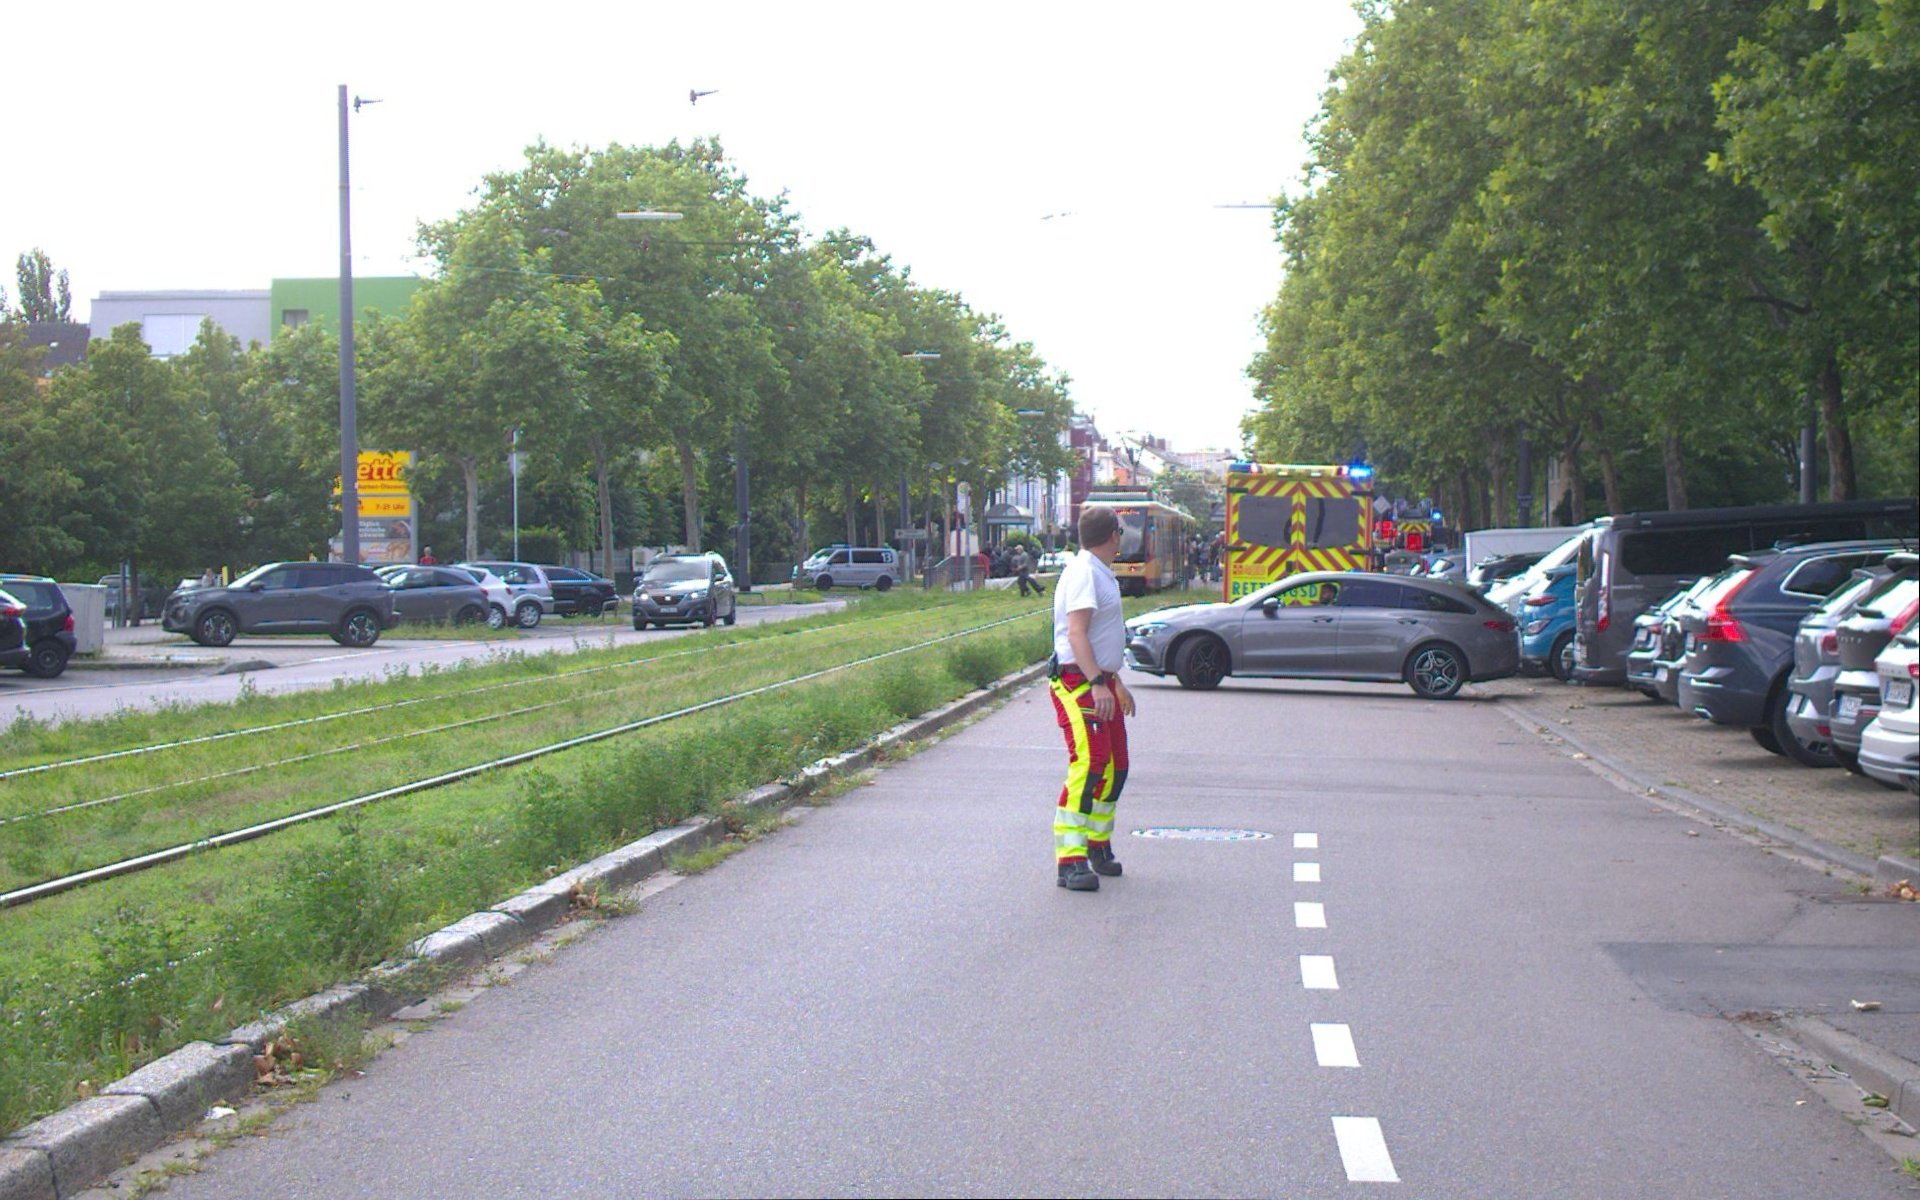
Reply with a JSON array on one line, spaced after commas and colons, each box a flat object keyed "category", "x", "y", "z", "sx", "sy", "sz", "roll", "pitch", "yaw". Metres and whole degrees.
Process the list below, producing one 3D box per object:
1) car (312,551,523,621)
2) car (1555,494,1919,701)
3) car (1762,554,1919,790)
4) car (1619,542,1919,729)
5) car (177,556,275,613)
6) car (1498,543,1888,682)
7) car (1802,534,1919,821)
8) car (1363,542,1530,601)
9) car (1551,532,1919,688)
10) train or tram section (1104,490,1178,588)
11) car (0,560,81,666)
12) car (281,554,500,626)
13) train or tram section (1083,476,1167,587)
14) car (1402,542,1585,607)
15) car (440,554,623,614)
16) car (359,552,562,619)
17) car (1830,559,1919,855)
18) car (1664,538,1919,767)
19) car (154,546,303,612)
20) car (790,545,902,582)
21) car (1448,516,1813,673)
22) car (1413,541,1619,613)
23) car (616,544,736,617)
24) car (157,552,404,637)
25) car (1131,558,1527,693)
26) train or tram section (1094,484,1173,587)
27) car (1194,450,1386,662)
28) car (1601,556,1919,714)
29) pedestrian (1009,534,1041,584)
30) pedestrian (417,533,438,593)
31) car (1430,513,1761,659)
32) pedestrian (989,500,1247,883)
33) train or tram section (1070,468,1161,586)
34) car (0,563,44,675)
[{"category": "car", "x": -12.062, "y": -0.309, "z": 76.440, "sx": 4.221, "sy": 1.477, "sz": 1.883, "roll": 1, "pitch": 1, "yaw": -30}, {"category": "car", "x": 8.804, "y": -0.037, "z": 37.052, "sx": 4.546, "sy": 2.116, "sz": 1.855, "roll": -1, "pitch": 1, "yaw": 5}, {"category": "car", "x": 7.663, "y": 0.431, "z": 22.820, "sx": 4.382, "sy": 1.496, "sz": 1.756, "roll": -1, "pitch": 1, "yaw": 8}, {"category": "car", "x": 8.165, "y": 0.284, "z": 31.126, "sx": 3.965, "sy": 1.600, "sz": 1.756, "roll": -1, "pitch": 1, "yaw": -5}, {"category": "car", "x": -24.097, "y": -0.523, "z": 112.931, "sx": 1.994, "sy": 1.744, "sz": 3.999, "roll": 2, "pitch": 1, "yaw": 5}, {"category": "car", "x": 9.232, "y": 0.143, "z": 43.555, "sx": 4.546, "sy": 1.655, "sz": 1.856, "roll": -1, "pitch": 1, "yaw": 1}, {"category": "car", "x": 7.535, "y": 0.387, "z": 20.348, "sx": 4.658, "sy": 1.620, "sz": 1.848, "roll": -1, "pitch": 1, "yaw": 2}, {"category": "car", "x": 13.942, "y": -0.835, "z": 98.752, "sx": 4.546, "sy": 1.603, "sz": 1.856, "roll": -1, "pitch": 1, "yaw": 2}, {"category": "car", "x": 9.440, "y": 0.104, "z": 40.986, "sx": 4.546, "sy": 1.760, "sz": 1.855, "roll": -1, "pitch": 1, "yaw": 5}, {"category": "train or tram section", "x": 7.008, "y": -2.284, "z": 132.182, "sx": 2.512, "sy": 3.572, "sz": 7.443, "roll": -1, "pitch": 0, "yaw": 5}, {"category": "car", "x": -14.852, "y": 0.192, "z": 49.031, "sx": 4.220, "sy": 1.477, "sz": 1.884, "roll": -1, "pitch": 1, "yaw": -23}, {"category": "car", "x": -12.177, "y": -0.207, "z": 73.529, "sx": 4.221, "sy": 1.477, "sz": 1.883, "roll": 1, "pitch": 1, "yaw": -30}, {"category": "train or tram section", "x": 5.680, "y": -2.277, "z": 117.374, "sx": 2.512, "sy": 3.572, "sz": 7.443, "roll": -1, "pitch": 0, "yaw": 5}, {"category": "car", "x": 14.012, "y": -0.674, "z": 90.468, "sx": 4.546, "sy": 1.603, "sz": 1.856, "roll": -1, "pitch": 1, "yaw": 2}, {"category": "car", "x": -10.915, "y": -0.402, "z": 87.604, "sx": 4.221, "sy": 1.477, "sz": 1.883, "roll": 1, "pitch": 1, "yaw": -34}, {"category": "car", "x": -11.527, "y": -0.327, "z": 79.419, "sx": 4.221, "sy": 1.477, "sz": 1.883, "roll": 1, "pitch": 1, "yaw": -30}, {"category": "car", "x": 7.153, "y": 0.492, "z": 18.143, "sx": 4.658, "sy": 1.468, "sz": 1.848, "roll": -1, "pitch": 1, "yaw": 2}, {"category": "car", "x": 7.542, "y": 0.349, "z": 25.544, "sx": 4.382, "sy": 1.634, "sz": 1.755, "roll": -1, "pitch": 1, "yaw": 8}, {"category": "car", "x": -20.876, "y": -0.611, "z": 98.061, "sx": 3.996, "sy": 1.744, "sz": 1.996, "roll": 3, "pitch": 1, "yaw": 37}, {"category": "car", "x": -5.016, "y": -1.615, "z": 151.853, "sx": 4.613, "sy": 1.627, "sz": 1.883, "roll": -1, "pitch": 1, "yaw": -33}, {"category": "car", "x": 8.945, "y": -0.083, "z": 46.132, "sx": 4.546, "sy": 1.994, "sz": 1.856, "roll": -1, "pitch": 1, "yaw": 2}, {"category": "car", "x": 13.024, "y": -0.546, "z": 80.669, "sx": 4.546, "sy": 1.603, "sz": 1.856, "roll": -1, "pitch": 1, "yaw": 2}, {"category": "car", "x": -6.403, "y": -0.456, "z": 77.944, "sx": 1.994, "sy": 1.552, "sz": 4.369, "roll": -1, "pitch": 1, "yaw": 5}, {"category": "car", "x": -12.533, "y": -0.106, "z": 63.375, "sx": 4.220, "sy": 1.477, "sz": 1.884, "roll": 1, "pitch": 0, "yaw": -19}, {"category": "car", "x": 4.323, "y": 0.274, "z": 40.172, "sx": 4.455, "sy": 1.381, "sz": 1.766, "roll": 2, "pitch": 1, "yaw": 8}, {"category": "train or tram section", "x": 6.341, "y": -2.281, "z": 124.789, "sx": 2.512, "sy": 3.572, "sz": 7.443, "roll": -1, "pitch": 0, "yaw": 5}, {"category": "car", "x": 5.179, "y": -0.671, "z": 53.179, "sx": 2.642, "sy": 2.956, "sz": 6.298, "roll": 3, "pitch": 1, "yaw": 7}, {"category": "car", "x": 8.454, "y": 0.327, "z": 34.023, "sx": 3.966, "sy": 1.489, "sz": 1.756, "roll": -1, "pitch": 0, "yaw": 5}, {"category": "pedestrian", "x": 2.002, "y": -1.259, "z": 105.879, "sx": 0.881, "sy": 1.520, "sz": 0.751, "roll": 2, "pitch": 0, "yaw": 5}, {"category": "pedestrian", "x": -14.800, "y": -1.038, "z": 95.579, "sx": 0.466, "sy": 1.671, "sz": 0.603, "roll": 0, "pitch": 1, "yaw": 4}, {"category": "car", "x": 9.330, "y": -0.208, "z": 50.710, "sx": 4.546, "sy": 2.036, "sz": 1.856, "roll": -1, "pitch": 1, "yaw": 2}, {"category": "pedestrian", "x": 0.717, "y": 0.395, "z": 15.687, "sx": 0.803, "sy": 1.680, "sz": 0.851, "roll": 0, "pitch": 1, "yaw": -38}, {"category": "train or tram section", "x": 5.028, "y": -2.273, "z": 109.971, "sx": 2.512, "sy": 3.572, "sz": 7.443, "roll": -1, "pitch": 0, "yaw": 5}, {"category": "car", "x": -14.569, "y": 0.266, "z": 46.018, "sx": 4.220, "sy": 1.477, "sz": 1.884, "roll": -1, "pitch": 1, "yaw": -23}]
